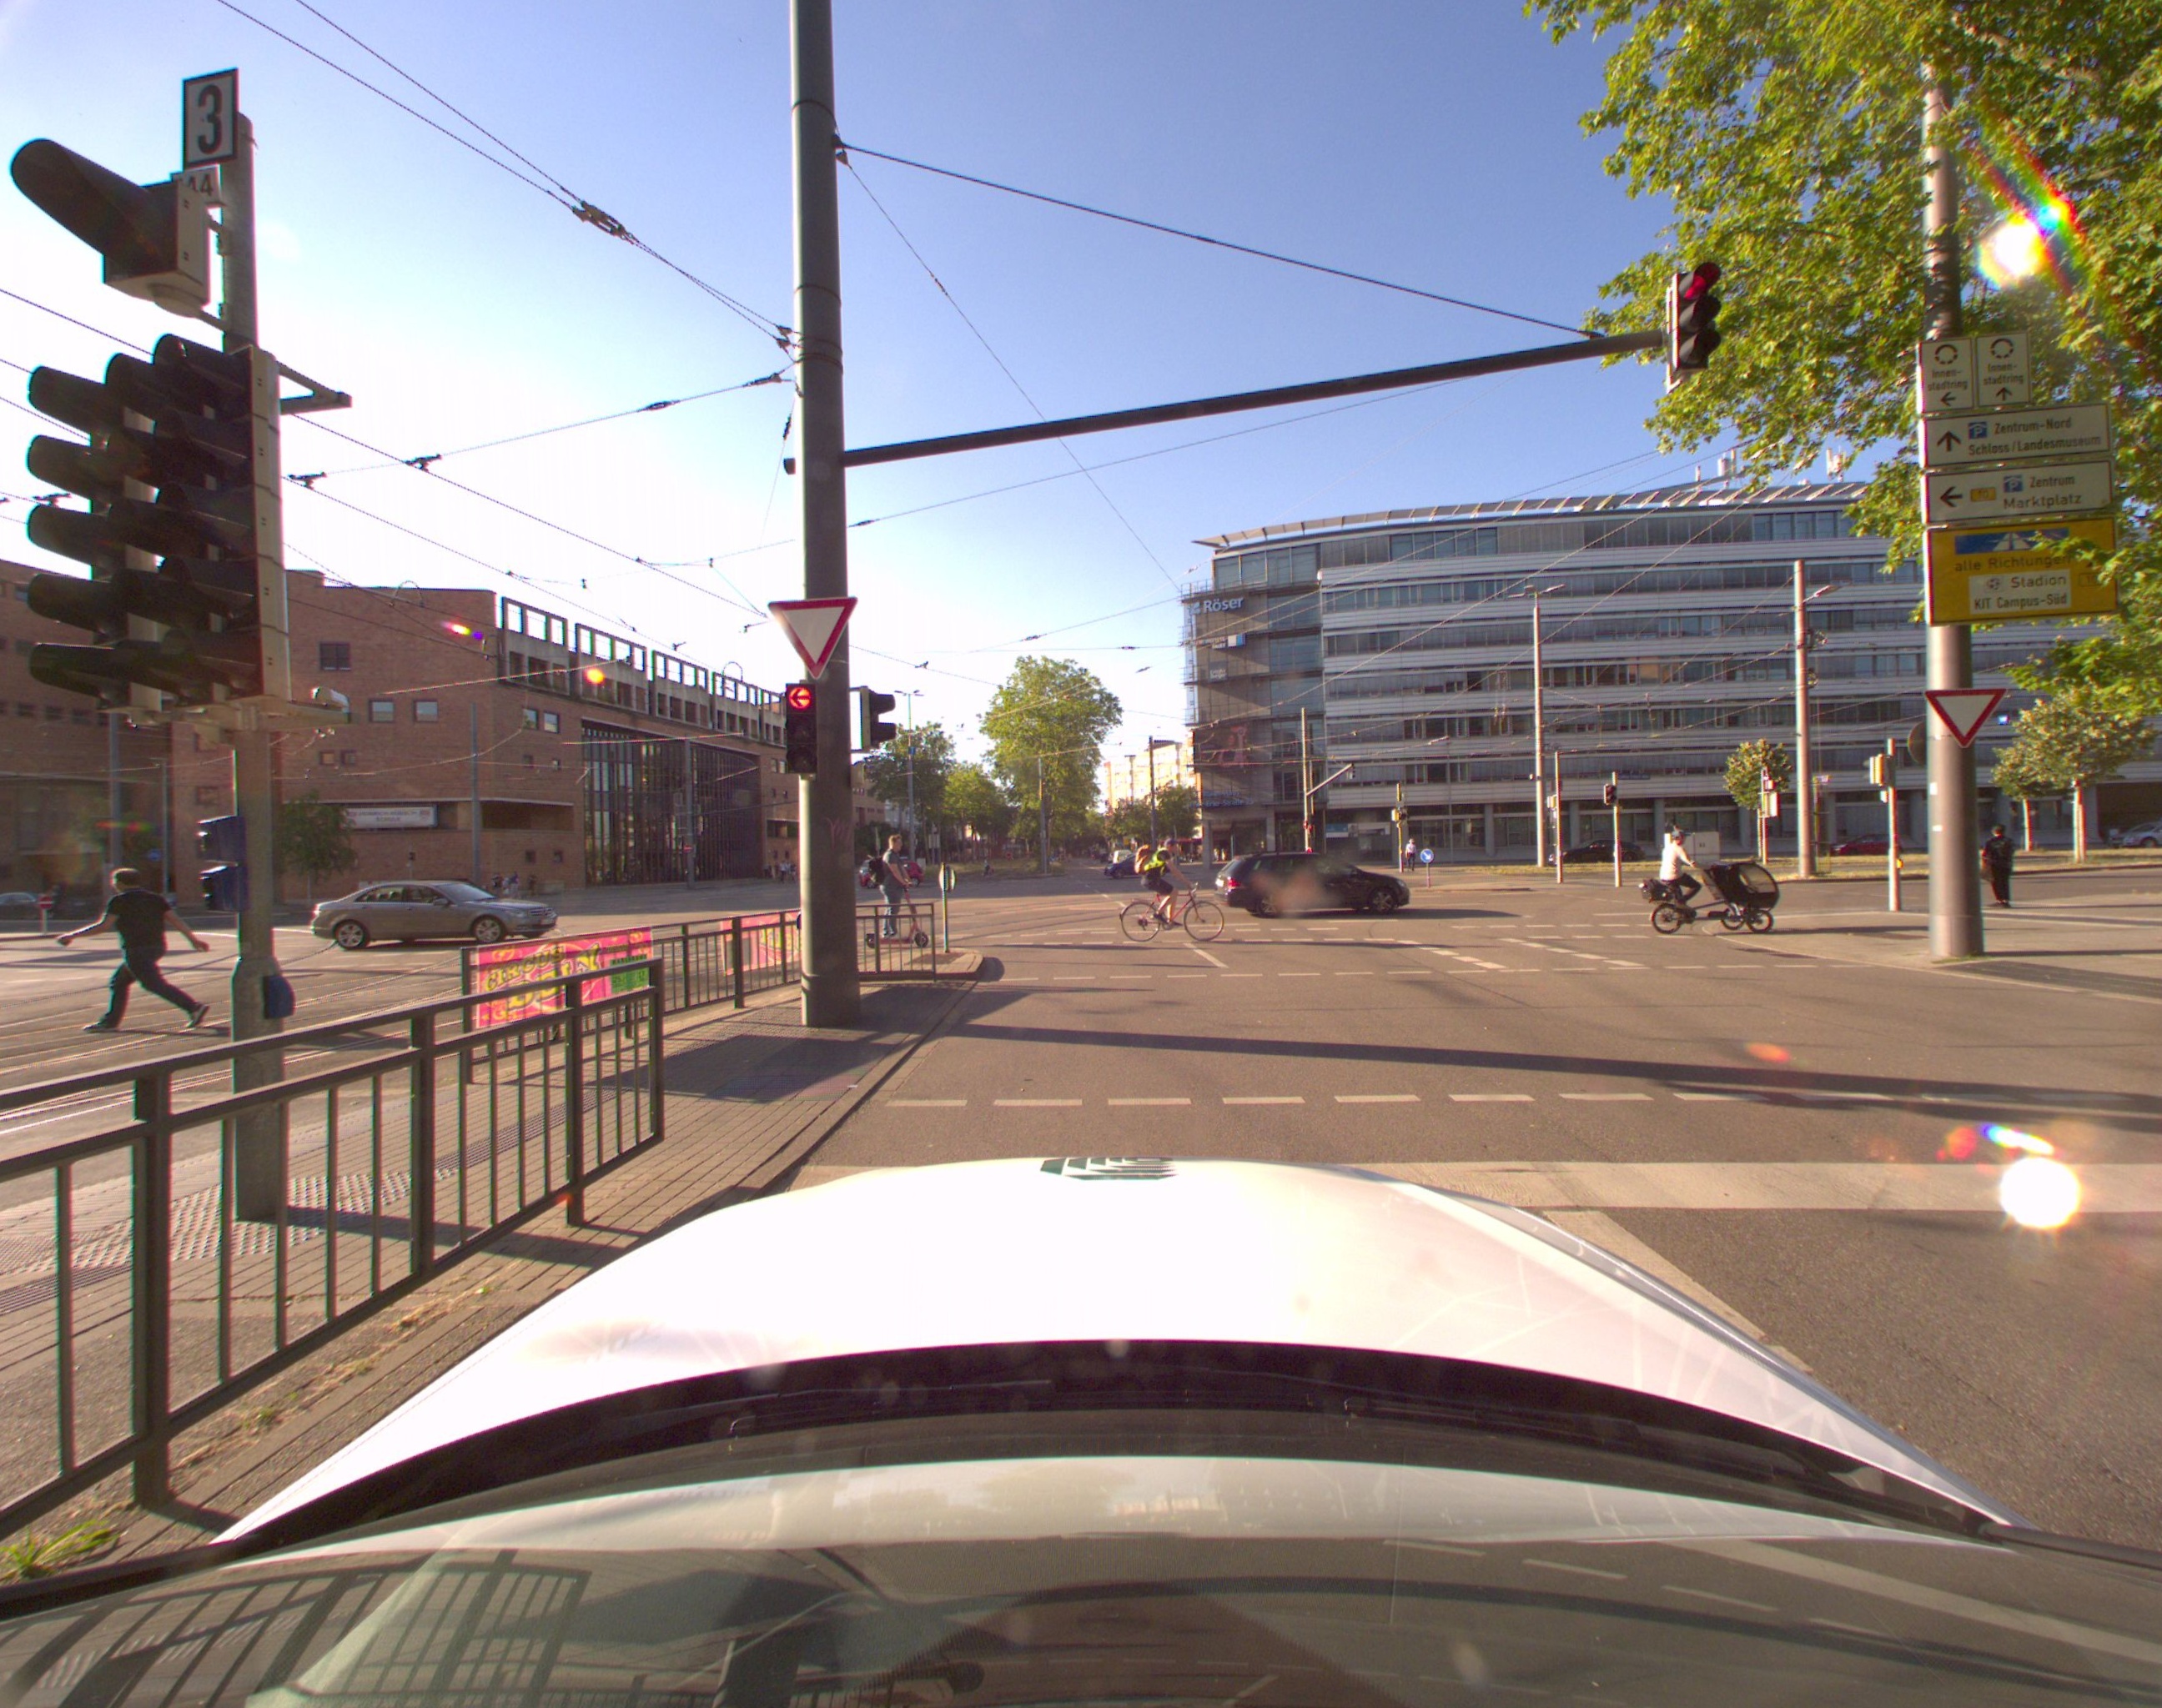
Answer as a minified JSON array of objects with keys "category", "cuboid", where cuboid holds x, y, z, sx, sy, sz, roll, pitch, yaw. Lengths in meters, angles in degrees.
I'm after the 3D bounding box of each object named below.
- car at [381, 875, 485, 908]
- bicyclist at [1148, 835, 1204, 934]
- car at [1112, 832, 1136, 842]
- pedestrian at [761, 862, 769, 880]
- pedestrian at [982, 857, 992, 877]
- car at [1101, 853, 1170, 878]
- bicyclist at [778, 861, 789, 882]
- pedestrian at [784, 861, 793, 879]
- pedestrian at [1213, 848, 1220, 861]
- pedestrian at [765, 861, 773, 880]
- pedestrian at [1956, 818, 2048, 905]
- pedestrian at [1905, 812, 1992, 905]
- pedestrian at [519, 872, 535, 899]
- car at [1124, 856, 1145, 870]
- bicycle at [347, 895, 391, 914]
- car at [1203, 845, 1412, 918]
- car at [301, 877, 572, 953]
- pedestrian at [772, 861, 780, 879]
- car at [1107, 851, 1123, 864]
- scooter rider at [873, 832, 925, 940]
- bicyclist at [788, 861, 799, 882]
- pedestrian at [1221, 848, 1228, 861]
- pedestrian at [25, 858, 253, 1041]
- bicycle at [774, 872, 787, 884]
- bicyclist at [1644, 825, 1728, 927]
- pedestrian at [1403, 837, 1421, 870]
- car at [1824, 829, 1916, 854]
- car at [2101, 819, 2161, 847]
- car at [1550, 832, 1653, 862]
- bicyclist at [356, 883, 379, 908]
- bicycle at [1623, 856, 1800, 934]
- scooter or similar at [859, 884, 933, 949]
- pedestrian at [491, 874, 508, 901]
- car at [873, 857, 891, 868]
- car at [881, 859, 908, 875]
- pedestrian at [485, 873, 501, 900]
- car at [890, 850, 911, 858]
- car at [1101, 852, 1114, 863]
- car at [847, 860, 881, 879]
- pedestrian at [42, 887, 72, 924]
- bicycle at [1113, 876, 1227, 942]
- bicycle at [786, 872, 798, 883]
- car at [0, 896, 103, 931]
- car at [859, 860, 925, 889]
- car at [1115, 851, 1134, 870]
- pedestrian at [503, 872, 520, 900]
[{"category":"car","cuboid":[-33.955,1.959,42.739,3.855,1.507,1.792,-2,0,-6]},{"category":"bicyclist","cuboid":[1.645,0.520,14.182,0.900,1.664,0.640,-2,0,4]},{"category":"car","cuboid":[7.448,-2.921,141.008,3.732,1.750,1.789,0,-1,16]},{"category":"pedestrian","cuboid":[-31.308,1.697,80.648,0.487,1.810,0.547,-2,0,9]},{"category":"pedestrian","cuboid":[-7.350,1.028,63.756,0.753,1.530,0.507,-1,0,-6]},{"category":"car","cuboid":[3.297,0.711,49.759,3.979,1.348,1.973,-2,0,-4]},{"category":"bicyclist","cuboid":[-24.273,1.402,66.376,0.592,1.675,0.788,-2,0,-4]},{"category":"pedestrian","cuboid":[-29.325,1.582,81.683,0.637,1.810,0.547,-2,0,9]},{"category":"pedestrian","cuboid":[15.955,0.032,95.722,0.734,1.465,0.538,-2,0,11]},{"category":"pedestrian","cuboid":[-31.408,1.669,82.027,0.487,1.810,0.547,-2,0,9]},{"category":"pedestrian","cuboid":[18.366,0.143,16.272,0.840,1.681,0.870,-1,0,9]},{"category":"pedestrian","cuboid":[17.491,0.100,16.451,0.840,1.820,0.870,-1,0,12]},{"category":"pedestrian","cuboid":[-35.272,2.020,51.875,0.622,1.650,0.538,-2,0,-3]},{"category":"car","cuboid":[5.433,0.866,82.907,1.986,1.332,4.002,-2,0,2]},{"category":"bicycle","cuboid":[-39.359,2.782,45.042,1.747,0.899,0.406,-2,0,-20]},{"category":"car","cuboid":[5.243,0.603,19.262,4.372,1.517,1.999,-2,1,-1]},{"category":"car","cuboid":[-14.354,1.320,18.379,4.371,1.379,1.997,-2,0,-4]},{"category":"pedestrian","cuboid":[-30.644,1.649,81.761,0.519,1.779,0.547,-2,0,9]},{"category":"car","cuboid":[4.390,0.439,105.105,1.986,1.662,4.002,-2,0,2]},{"category":"scooter rider","cuboid":[-3.308,0.574,14.860,0.660,1.896,0.737,-2,0,4]},{"category":"bicyclist","cuboid":[-23.506,1.401,66.613,0.592,1.675,0.788,-2,0,-4]},{"category":"pedestrian","cuboid":[16.776,0.091,95.354,0.701,1.465,0.385,-2,0,11]},{"category":"pedestrian","cuboid":[-10.191,0.977,8.880,1.207,1.822,1.040,-2,-1,-5]},{"category":"bicycle","cuboid":[-24.417,1.965,66.268,0.512,0.881,1.835,-2,0,-6]},{"category":"bicyclist","cuboid":[10.422,0.373,14.057,0.898,1.681,0.693,-2,0,9]},{"category":"pedestrian","cuboid":[17.281,-0.023,42.526,0.715,1.681,0.558,-1,0,9]},{"category":"car","cuboid":[49.923,-0.781,51.594,3.970,1.398,1.761,-2,0,3]},{"category":"car","cuboid":[65.335,-1.314,49.598,3.970,1.611,1.761,-2,0,3]},{"category":"car","cuboid":[27.751,-0.375,43.525,4.219,1.392,1.799,-2,0,6]},{"category":"bicyclist","cuboid":[-39.449,2.293,45.017,0.821,1.366,0.398,-2,0,-20]},{"category":"bicycle","cuboid":[10.775,0.691,14.017,2.144,1.226,1.075,-2,1,9]},{"category":"scooter or similar","cuboid":[-3.361,1.126,14.794,1.201,1.104,0.403,-2,0,4]},{"category":"pedestrian","cuboid":[-36.272,2.066,50.776,0.621,1.650,0.538,-2,0,1]},{"category":"car","cuboid":[-26.546,1.119,108.755,1.906,1.510,3.987,0,-1,-9]},{"category":"car","cuboid":[-19.256,1.329,84.193,1.990,1.508,3.994,-2,0,-4]},{"category":"pedestrian","cuboid":[-35.324,1.956,48.960,0.538,1.613,0.575,-2,0,33]},{"category":"car","cuboid":[-38.787,-0.027,175.093,4.011,1.552,1.592,0,-1,-29]},{"category":"car","cuboid":[4.141,0.585,126.843,1.986,1.662,4.002,-2,0,2]},{"category":"car","cuboid":[-18.444,1.321,69.444,1.990,1.508,3.994,-2,0,-4]},{"category":"pedestrian","cuboid":[-45.722,2.296,36.362,0.542,1.613,0.613,0,1,-3]},{"category":"bicycle","cuboid":[1.534,0.944,14.189,1.914,1.064,0.630,-1,0,4]},{"category":"bicycle","cuboid":[-23.595,1.915,66.554,0.512,0.881,1.835,-2,0,-6]},{"category":"car","cuboid":[-49.536,2.819,38.396,4.238,1.434,1.790,-2,0,-8]},{"category":"car","cuboid":[-10.866,1.155,47.055,3.597,1.466,1.789,-2,0,-10]},{"category":"car","cuboid":[4.743,0.672,89.769,1.986,1.991,4.002,-2,0,2]},{"category":"pedestrian","cuboid":[-35.567,1.995,50.900,0.621,1.650,0.539,-2,0,3]}]
